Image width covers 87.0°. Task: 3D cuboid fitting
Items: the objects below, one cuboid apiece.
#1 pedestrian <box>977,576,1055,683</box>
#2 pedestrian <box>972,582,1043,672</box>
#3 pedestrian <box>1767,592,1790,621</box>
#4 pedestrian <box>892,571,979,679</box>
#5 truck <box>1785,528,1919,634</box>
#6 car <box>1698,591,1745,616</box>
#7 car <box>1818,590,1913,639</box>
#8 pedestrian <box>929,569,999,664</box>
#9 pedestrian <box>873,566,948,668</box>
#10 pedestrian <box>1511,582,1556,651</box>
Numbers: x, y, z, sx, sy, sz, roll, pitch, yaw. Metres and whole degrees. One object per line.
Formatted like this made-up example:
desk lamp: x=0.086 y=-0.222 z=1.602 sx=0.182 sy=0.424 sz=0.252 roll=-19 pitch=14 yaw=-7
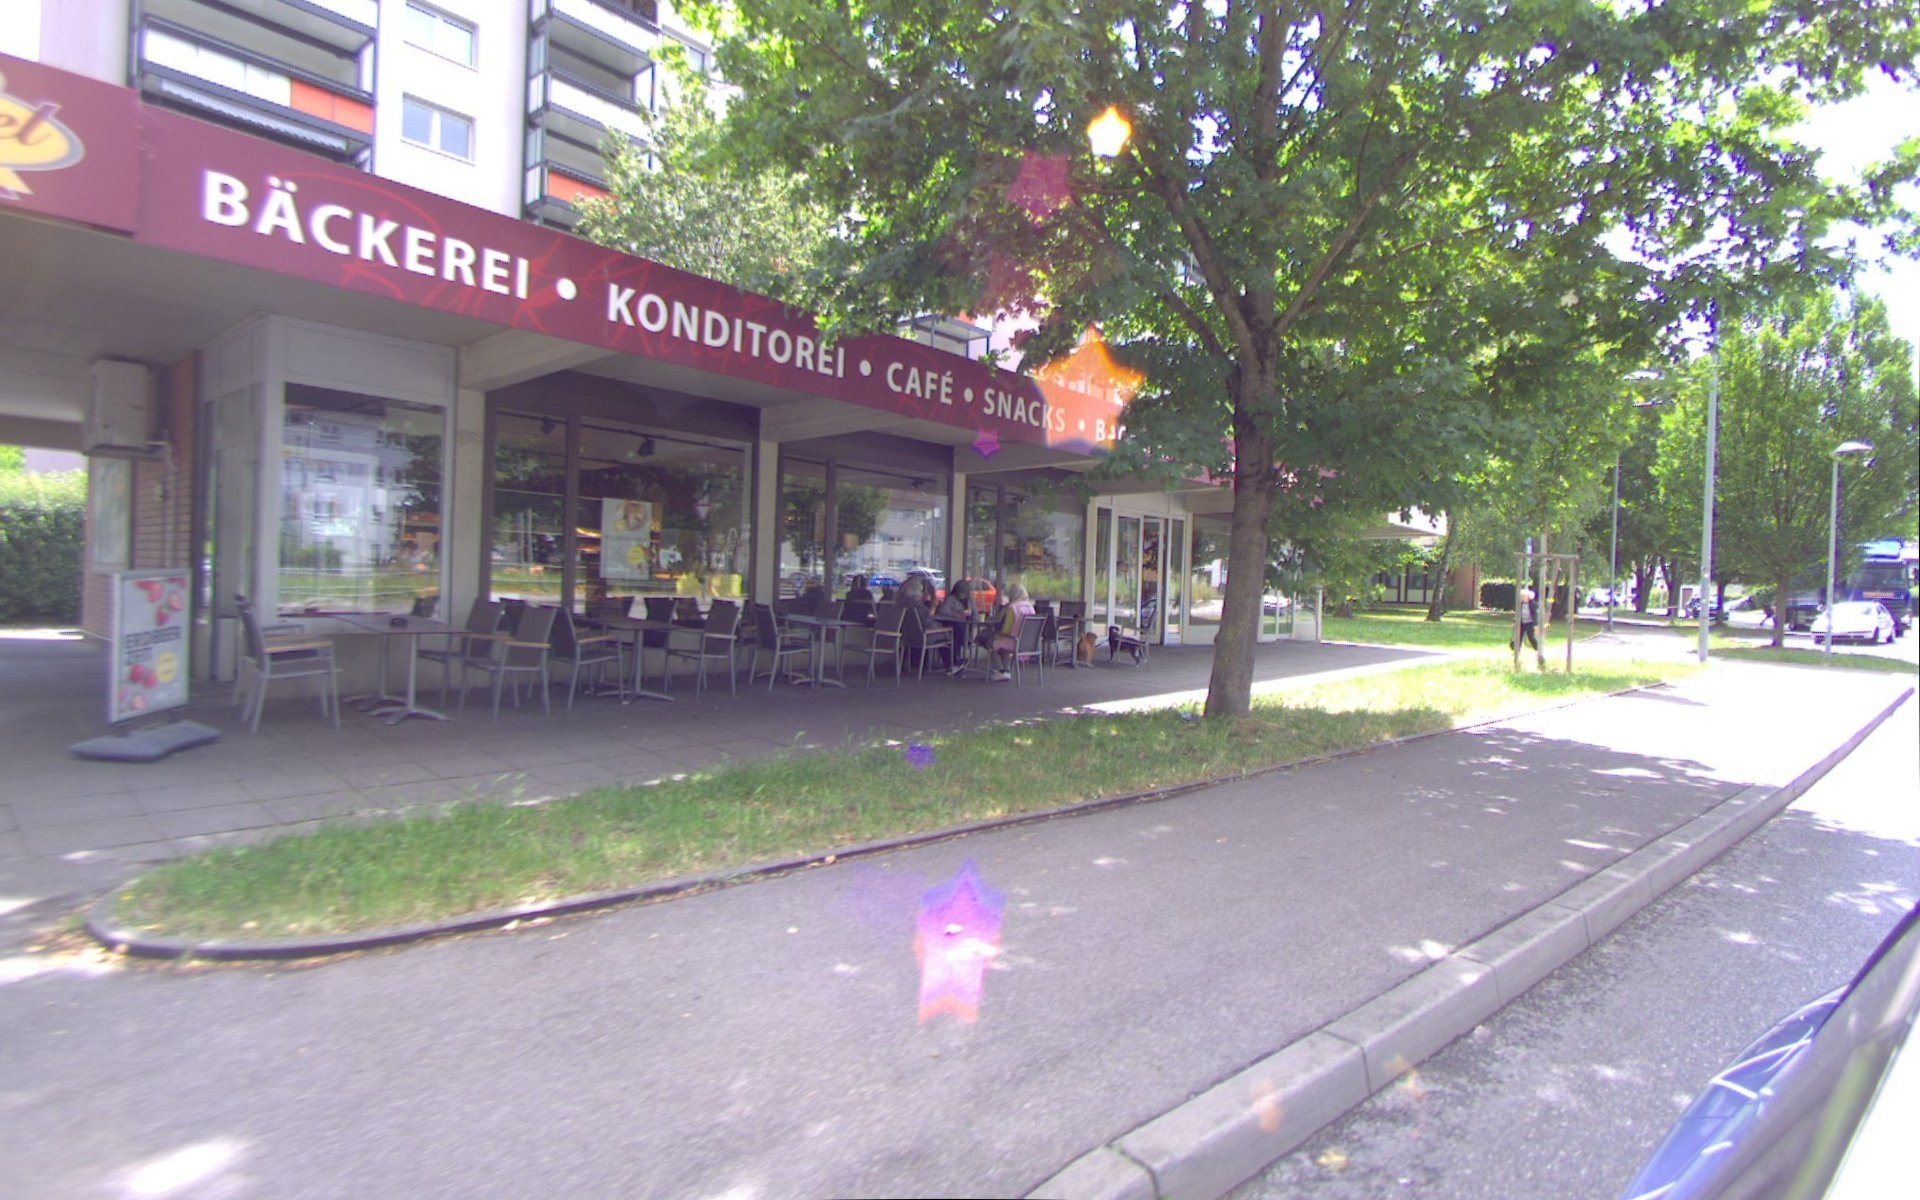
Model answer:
pedestrian: x=0.708 y=0.353 z=12.891 sx=0.661 sy=1.282 sz=0.678 roll=0 pitch=4 yaw=-36
pedestrian: x=0.662 y=0.356 z=14.006 sx=0.672 sy=1.165 sz=0.668 roll=5 pitch=4 yaw=41
pedestrian: x=42.382 y=0.337 z=52.396 sx=0.904 sy=1.442 sz=0.692 roll=1 pitch=1 yaw=-36
pedestrian: x=-0.306 y=0.301 z=12.867 sx=0.672 sy=1.282 sz=0.814 roll=5 pitch=2 yaw=41
truck: x=38.945 y=-0.836 z=44.199 sx=2.607 sy=4.144 sz=9.515 roll=2 pitch=2 yaw=28
car: x=47.254 y=0.195 z=62.871 sx=1.794 sy=1.371 sz=3.959 roll=2 pitch=2 yaw=29
car: x=31.404 y=0.481 z=35.068 sx=3.754 sy=1.542 sz=1.761 roll=0 pitch=2 yaw=-38
pedestrian: x=0.055 y=0.214 z=14.401 sx=0.672 sy=1.282 sz=0.668 roll=5 pitch=4 yaw=41
pedestrian: x=-0.663 y=0.211 z=13.531 sx=0.675 sy=1.282 sz=0.664 roll=5 pitch=3 yaw=43
pedestrian: x=13.342 y=0.377 z=23.540 sx=0.643 sy=1.557 sz=0.725 roll=0 pitch=2 yaw=-43
